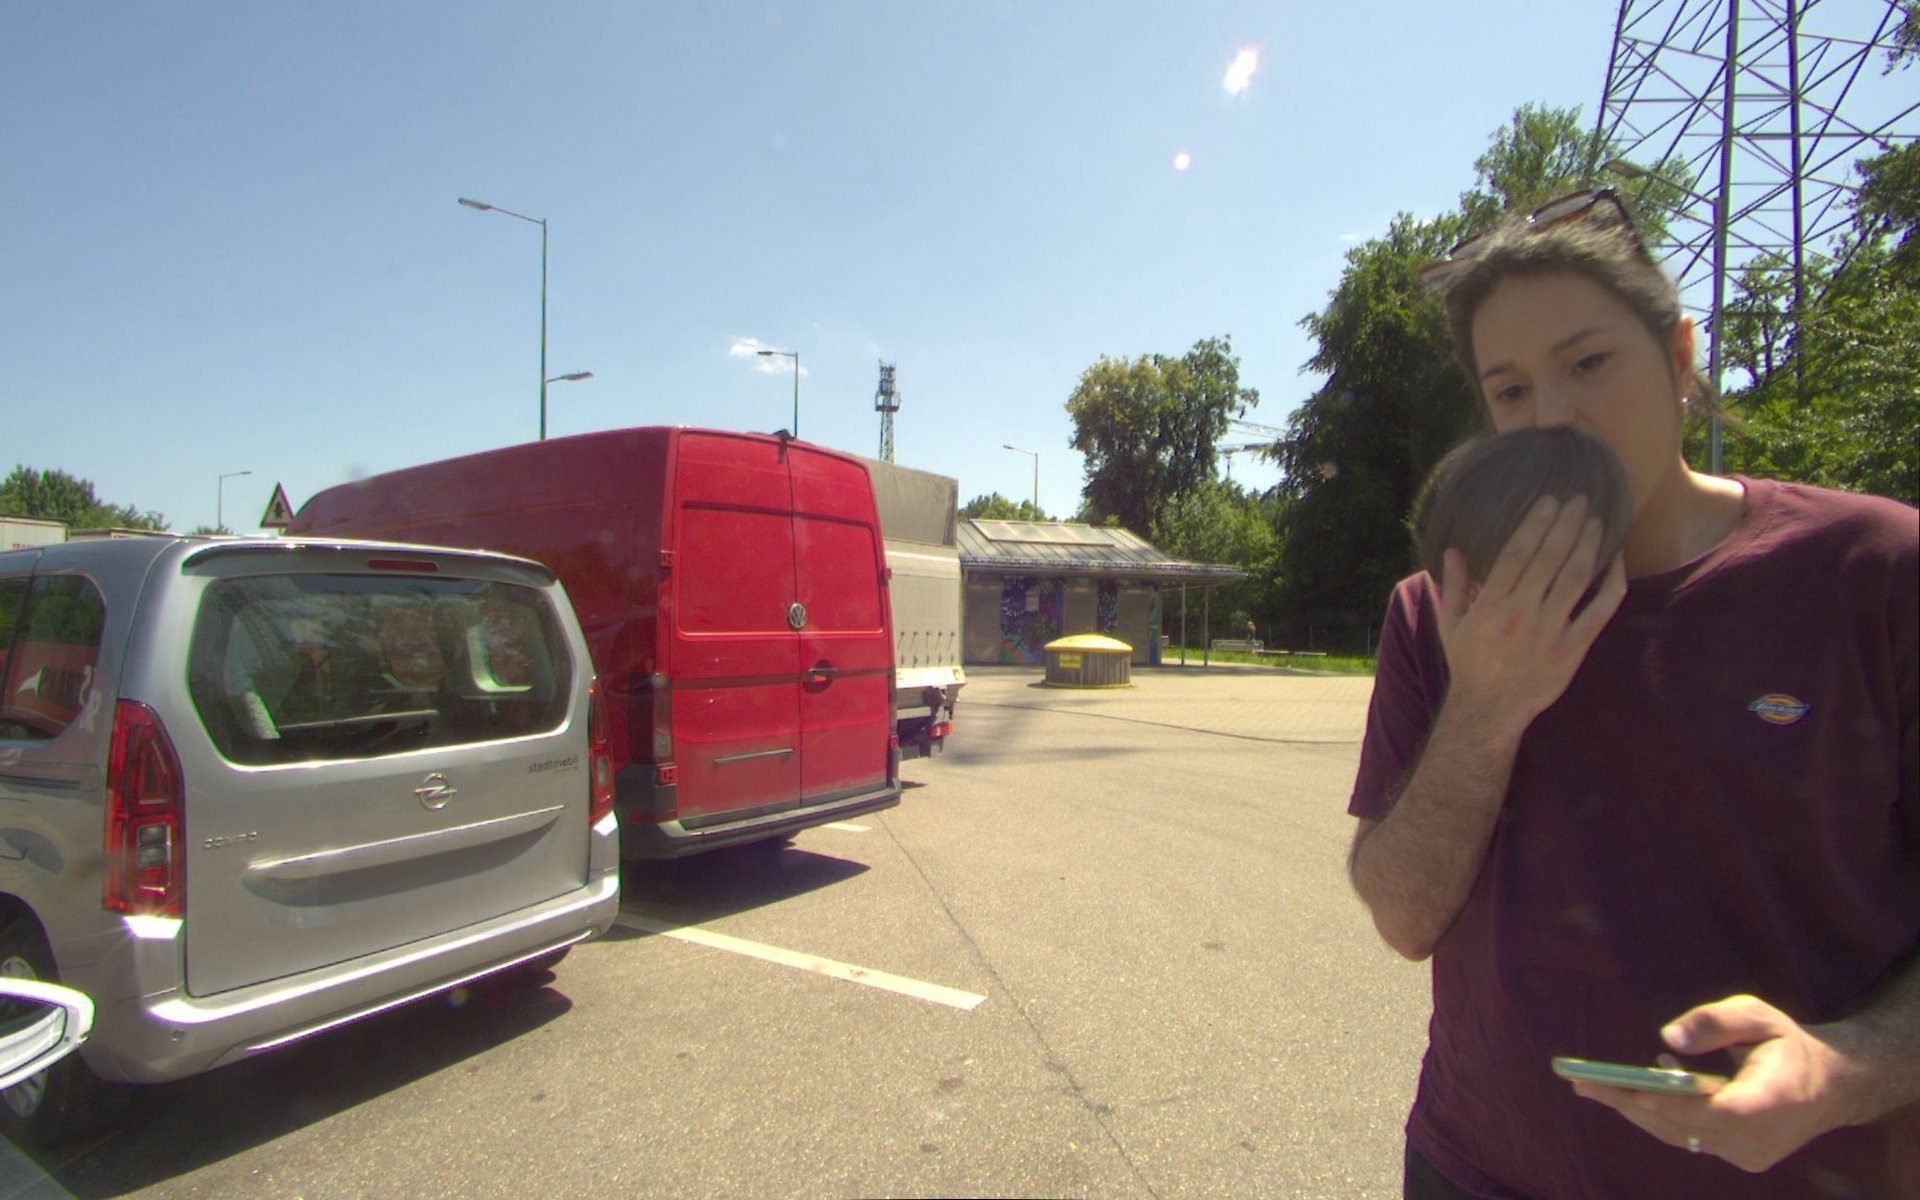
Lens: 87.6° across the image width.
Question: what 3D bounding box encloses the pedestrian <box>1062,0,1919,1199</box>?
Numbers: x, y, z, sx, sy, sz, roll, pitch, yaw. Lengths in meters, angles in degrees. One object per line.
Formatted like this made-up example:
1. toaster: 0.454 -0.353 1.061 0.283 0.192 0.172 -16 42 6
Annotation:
1. pedestrian: 0.671 0.473 0.879 0.926 1.798 0.827 1 0 28

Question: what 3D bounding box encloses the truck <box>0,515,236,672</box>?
1. truck: -27.990 -0.126 31.777 14.316 4.175 2.901 0 -3 33

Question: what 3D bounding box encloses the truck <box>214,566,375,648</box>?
1. truck: -30.709 0.326 46.065 8.407 3.482 3.019 0 -1 33

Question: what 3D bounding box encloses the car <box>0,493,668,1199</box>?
1. car: -3.347 0.641 4.206 3.938 1.776 1.824 0 -1 29

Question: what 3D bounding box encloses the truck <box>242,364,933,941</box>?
1. truck: -2.861 0.266 6.991 5.233 2.658 1.987 0 -1 37

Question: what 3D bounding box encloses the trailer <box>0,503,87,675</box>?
1. trailer: -28.796 -0.286 28.023 13.374 4.178 2.871 0 -1 33

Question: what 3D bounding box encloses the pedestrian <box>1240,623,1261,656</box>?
1. pedestrian: 12.436 1.698 42.915 0.579 1.402 0.754 1 0 -8
